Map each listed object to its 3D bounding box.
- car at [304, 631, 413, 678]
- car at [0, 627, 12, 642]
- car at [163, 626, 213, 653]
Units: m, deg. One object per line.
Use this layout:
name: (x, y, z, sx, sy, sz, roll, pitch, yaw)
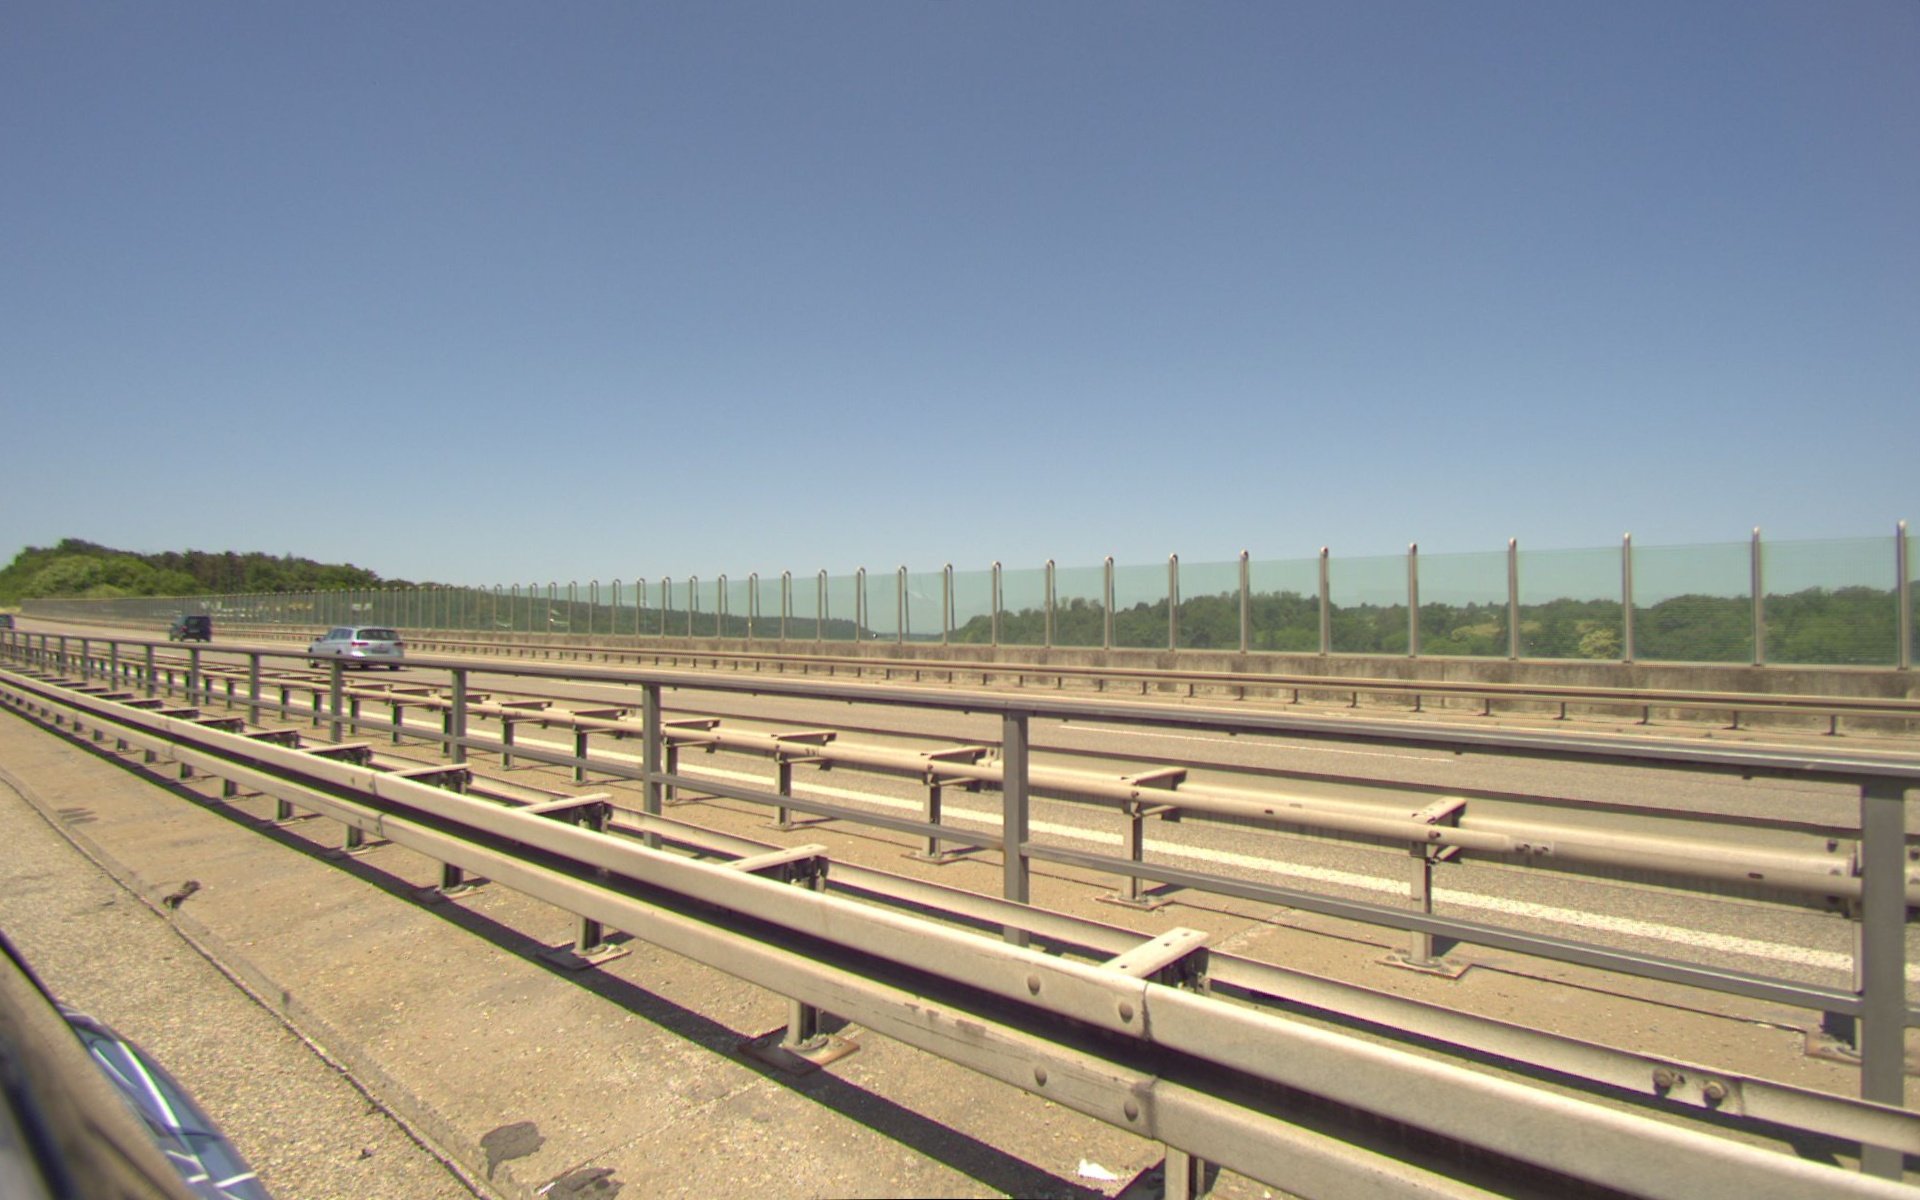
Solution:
car: (-20.034, 1.783, 33.635, 4.163, 1.405, 1.890, 0, -2, 41)
car: (-99.331, 3.546, 104.428, 3.998, 1.559, 1.736, 0, -3, 41)
car: (-52.185, 2.634, 68.397, 4.299, 1.798, 1.764, -1, -2, 40)
